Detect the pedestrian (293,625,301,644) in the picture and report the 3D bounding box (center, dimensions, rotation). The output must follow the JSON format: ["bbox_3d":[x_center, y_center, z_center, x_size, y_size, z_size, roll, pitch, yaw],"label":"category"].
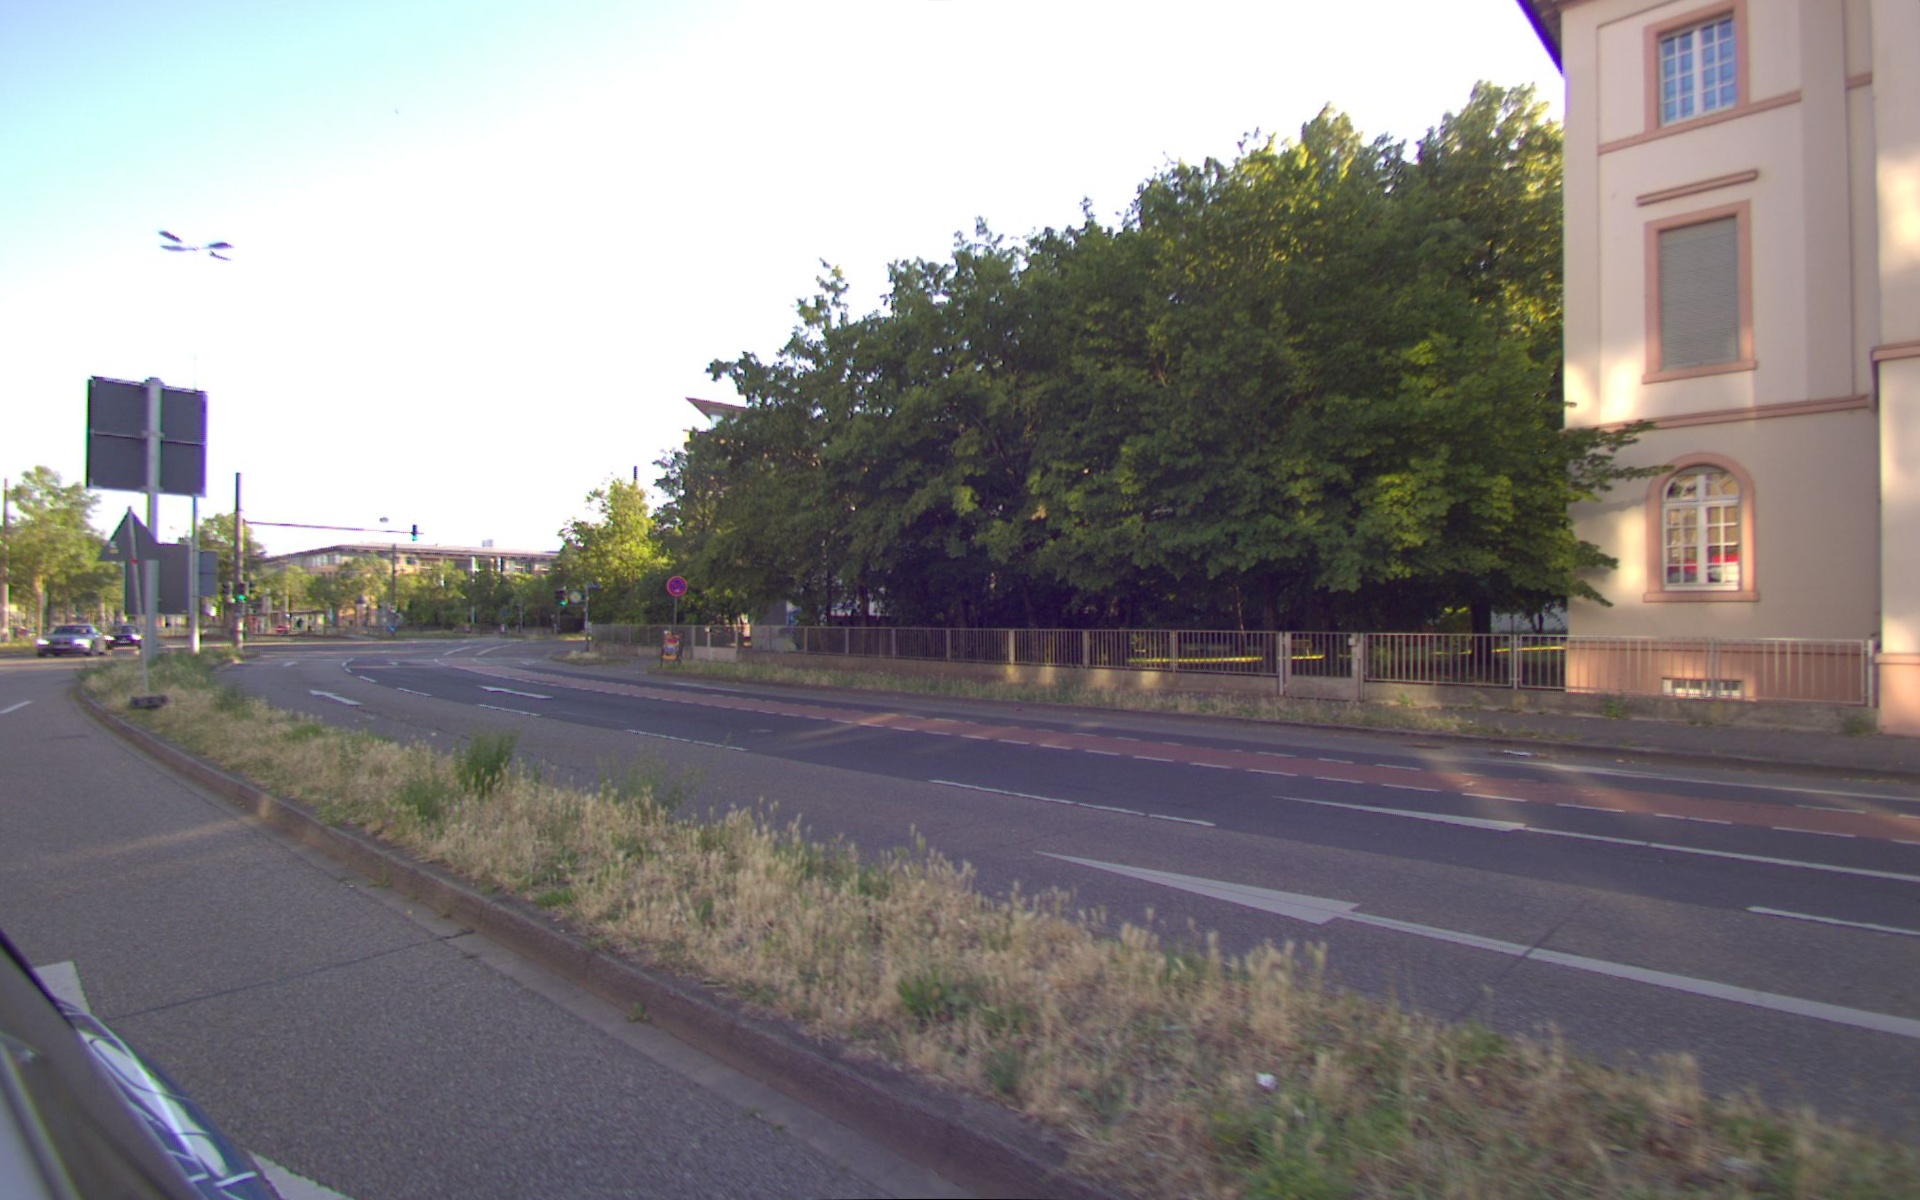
[{"bbox_3d":[-70.793,3.701,108.123,0.664,2.029,0.549,-2,-2,42],"label":"pedestrian"}]

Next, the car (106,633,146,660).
[{"bbox_3d":[-49.954,2.766,60.609,1.562,1.460,3.875,0,-1,-44],"label":"car"}]

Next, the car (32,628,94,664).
[{"bbox_3d":[-39.724,1.994,44.785,1.794,1.460,4.669,0,-1,-45],"label":"car"}]
